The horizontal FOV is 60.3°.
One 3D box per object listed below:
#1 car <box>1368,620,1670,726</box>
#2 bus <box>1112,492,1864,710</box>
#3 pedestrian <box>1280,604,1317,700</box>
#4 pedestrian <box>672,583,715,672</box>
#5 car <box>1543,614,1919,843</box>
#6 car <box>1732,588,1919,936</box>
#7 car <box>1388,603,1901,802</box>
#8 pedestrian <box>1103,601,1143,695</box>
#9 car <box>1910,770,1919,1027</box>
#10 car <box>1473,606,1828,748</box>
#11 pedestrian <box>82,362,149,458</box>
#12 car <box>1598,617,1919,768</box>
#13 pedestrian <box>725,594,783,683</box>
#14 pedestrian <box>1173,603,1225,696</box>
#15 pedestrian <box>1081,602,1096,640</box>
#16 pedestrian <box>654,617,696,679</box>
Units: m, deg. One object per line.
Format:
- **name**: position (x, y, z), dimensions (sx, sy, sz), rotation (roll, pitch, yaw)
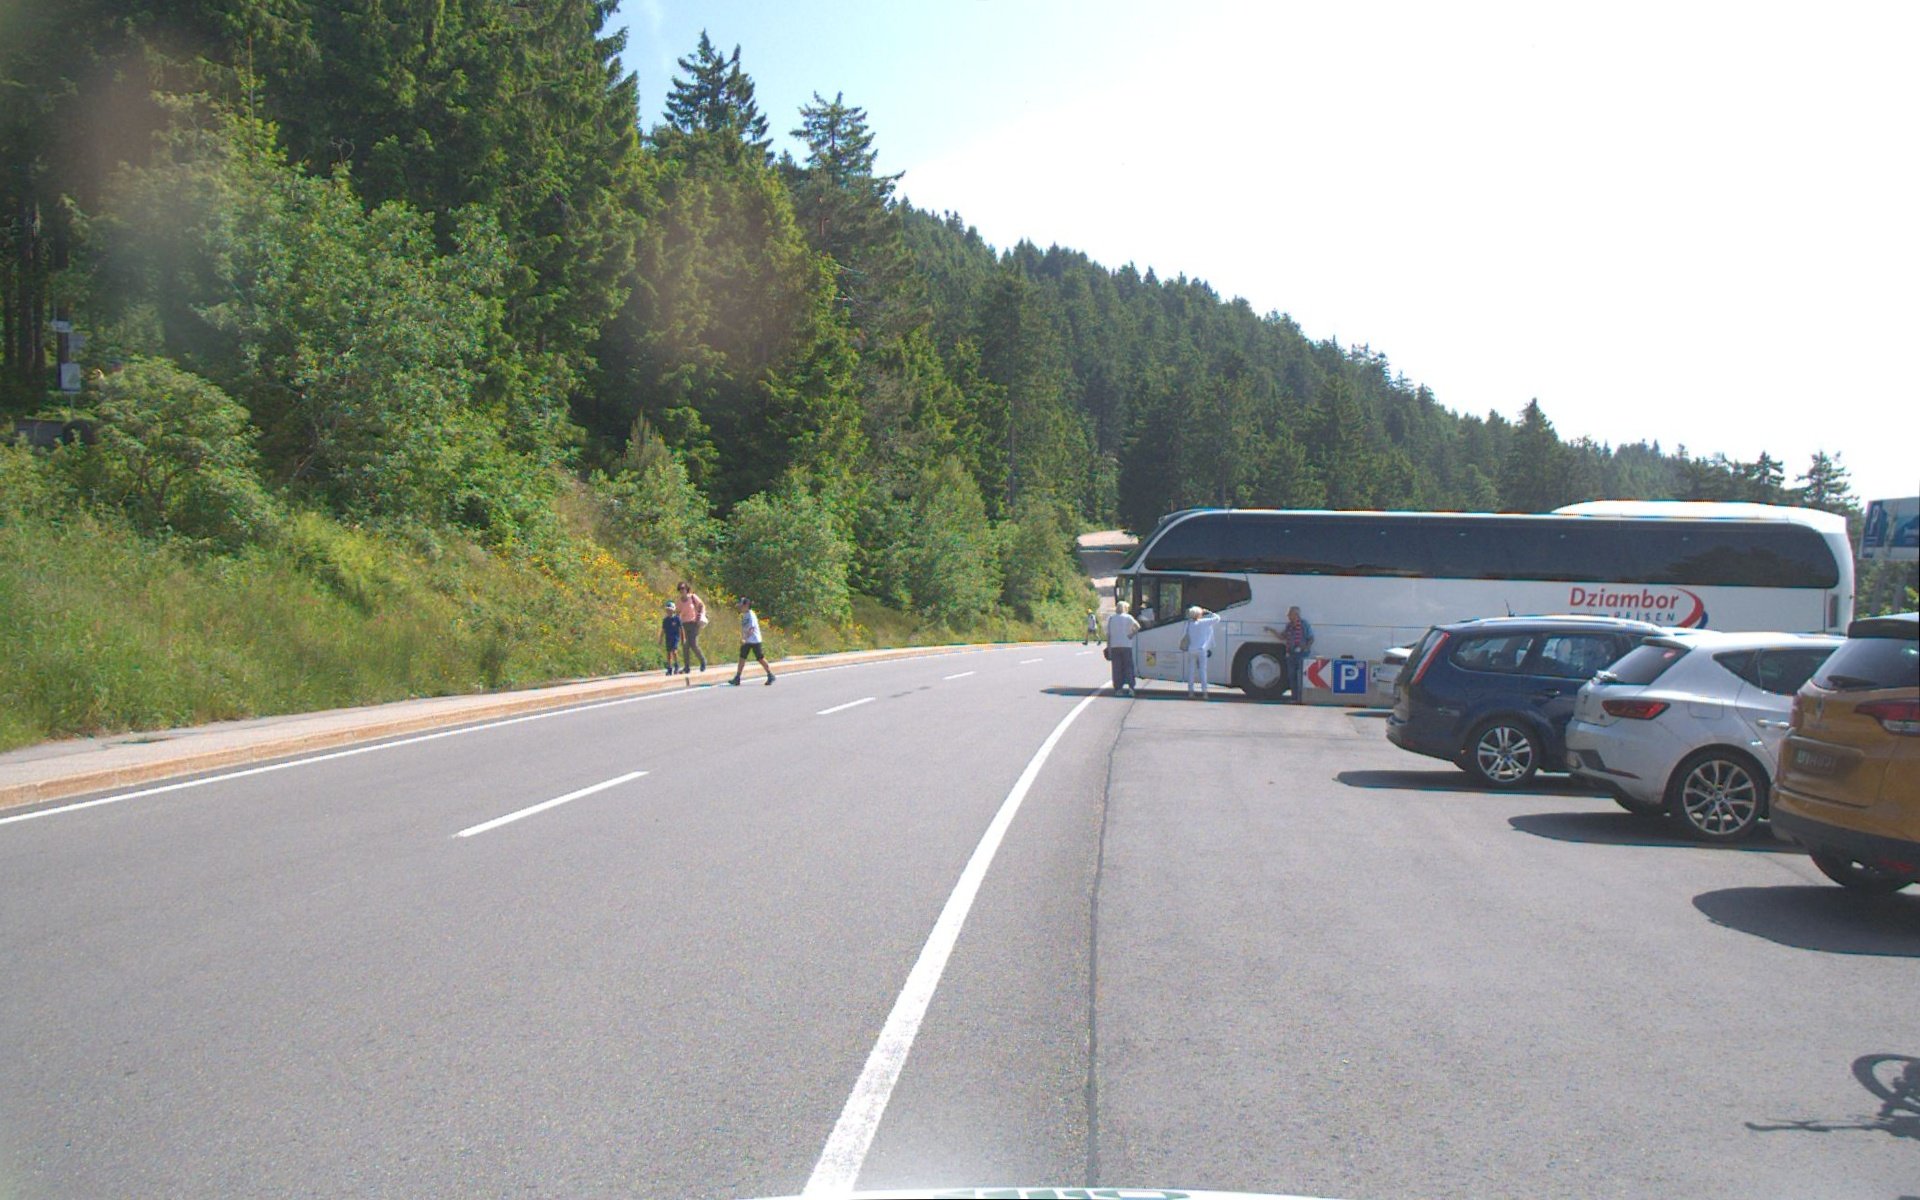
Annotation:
- **car**: position (8.705, 1.102, 26.047), dimensions (4.330, 1.420, 1.719), rotation (2, 0, 16)
- **bus**: position (9.274, -0.067, 30.443), dimensions (12.572, 3.640, 2.841), rotation (1, 0, 13)
- **pedestrian**: position (5.999, 0.907, 29.299), dimensions (0.630, 1.671, 0.745), rotation (0, 0, 13)
- **pedestrian**: position (-5.087, 0.510, 31.595), dimensions (0.564, 1.671, 0.895), rotation (0, 0, 8)
- **car**: position (6.422, 0.928, 12.010), dimensions (3.802, 1.445, 1.615), rotation (3, -1, 5)
- **car**: position (6.336, 0.865, 8.583), dimensions (3.796, 1.643, 1.710), rotation (3, 0, 4)
- **car**: position (6.115, 0.876, 15.192), dimensions (4.042, 1.571, 1.673), rotation (2, 0, 8)
- **pedestrian**: position (2.929, 0.850, 29.836), dimensions (0.692, 1.671, 0.745), rotation (0, 0, 4)
- **car**: position (5.672, 0.827, 5.002), dimensions (4.382, 1.655, 2.014), rotation (3, 0, 2)
- **car**: position (8.758, 0.941, 21.297), dimensions (3.902, 1.601, 1.768), rotation (2, 0, 11)
- **pedestrian**: position (-15.408, -3.459, 30.189), dimensions (0.792, 1.658, 0.742), rotation (1, -1, 1)
- **car**: position (9.305, 0.999, 18.302), dimensions (3.902, 1.444, 1.768), rotation (2, 0, 11)
- **pedestrian**: position (-3.711, 0.682, 29.761), dimensions (0.872, 1.564, 0.573), rotation (0, 0, -41)
- **pedestrian**: position (4.245, 0.867, 29.383), dimensions (0.634, 1.624, 0.741), rotation (0, 0, 38)
- **pedestrian**: position (6.064, 0.984, 78.098), dimensions (0.668, 1.777, 0.826), rotation (1, -1, 5)
- **pedestrian**: position (-5.261, 0.881, 30.509), dimensions (0.556, 1.121, 0.745), rotation (0, 0, 8)
